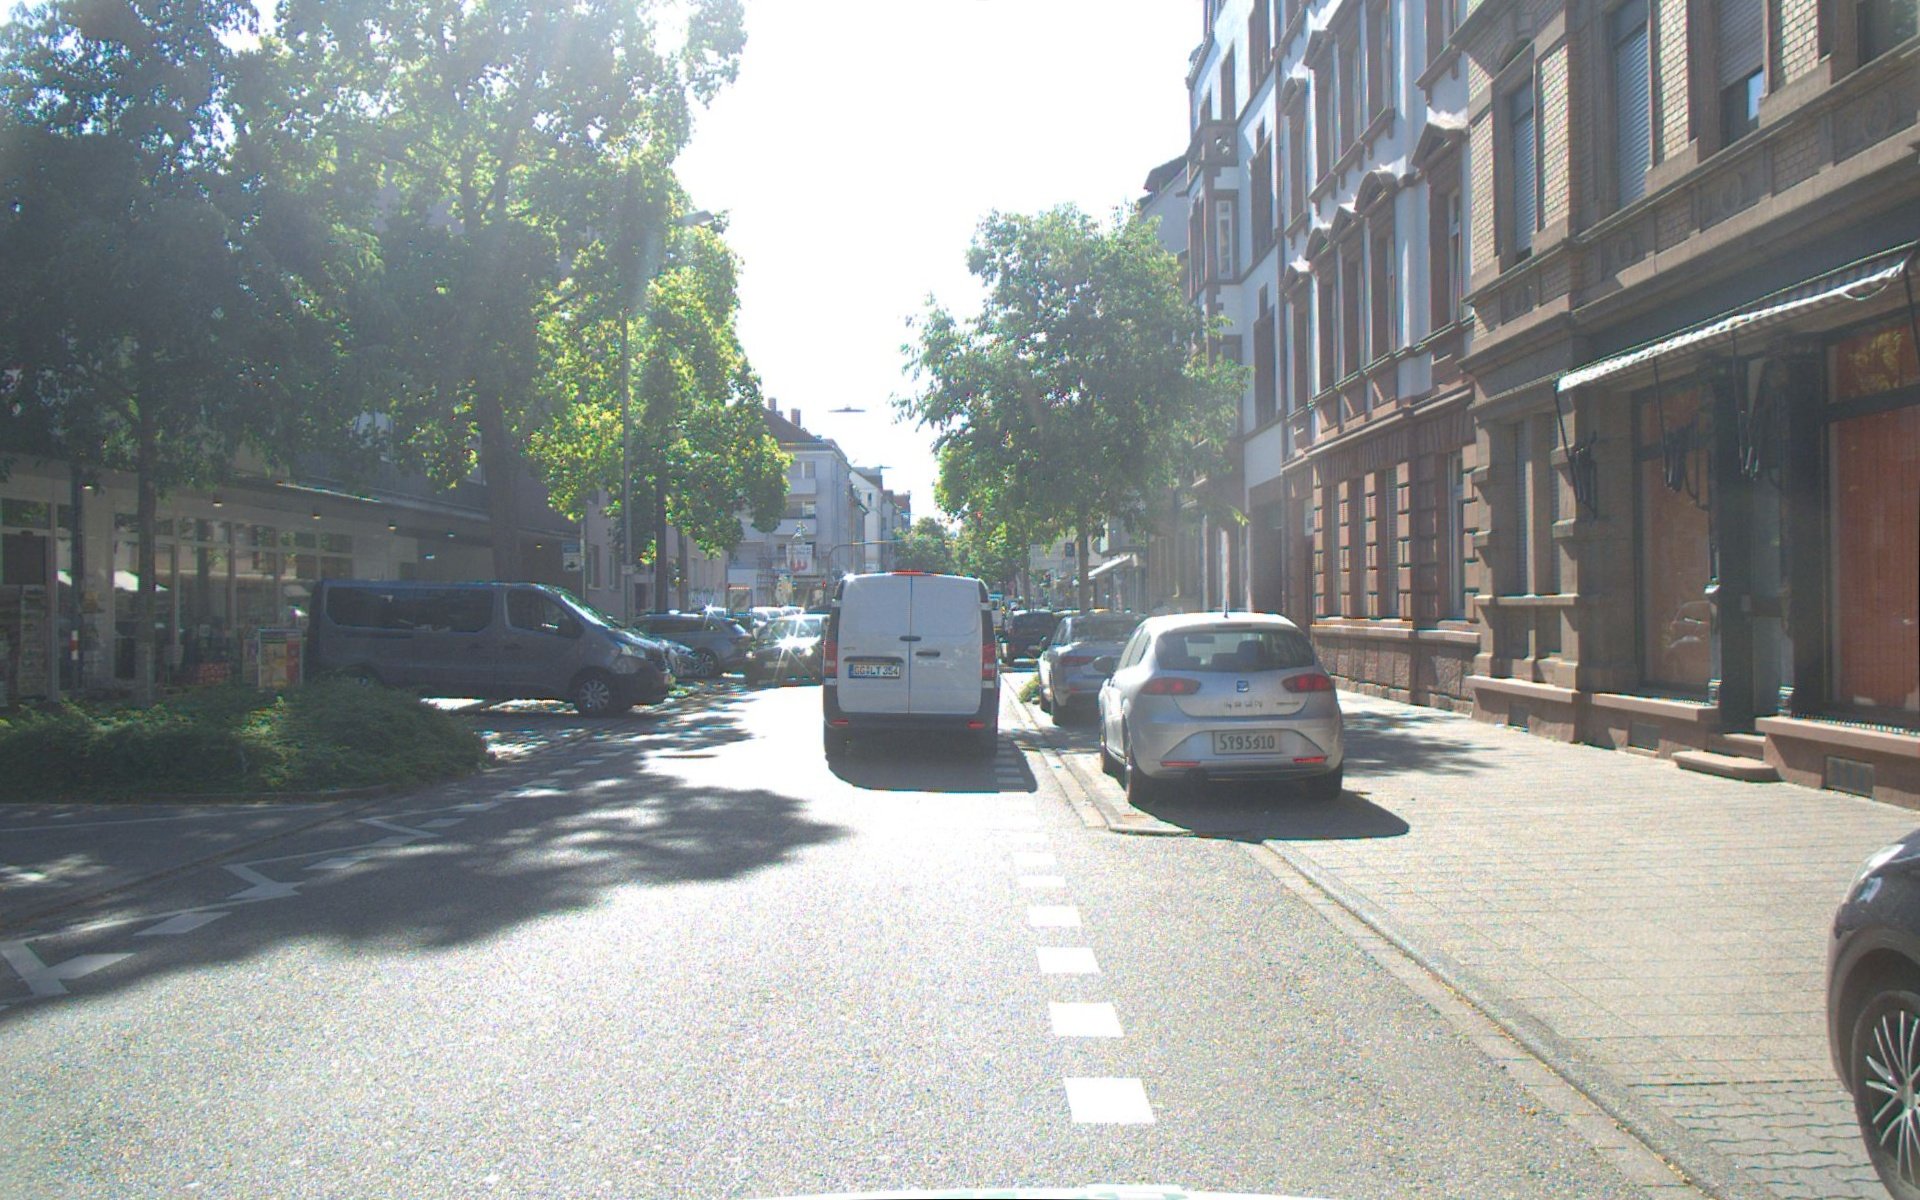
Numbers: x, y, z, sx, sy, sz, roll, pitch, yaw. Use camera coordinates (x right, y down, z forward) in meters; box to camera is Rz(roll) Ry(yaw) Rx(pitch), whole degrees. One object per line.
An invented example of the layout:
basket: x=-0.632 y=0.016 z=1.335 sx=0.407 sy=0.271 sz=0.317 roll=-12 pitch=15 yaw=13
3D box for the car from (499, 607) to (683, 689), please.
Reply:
car: x=-7.403 y=0.942 z=33.333 sx=3.535 sy=1.579 sz=1.679 roll=0 pitch=-1 yaw=-13

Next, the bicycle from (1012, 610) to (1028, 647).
bicycle: x=2.093 y=0.995 z=57.983 sx=0.465 sy=1.296 sz=1.218 roll=-1 pitch=0 yaw=-1

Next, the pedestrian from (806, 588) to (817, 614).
pedestrian: x=-9.950 y=0.059 z=110.484 sx=0.670 sy=1.693 sz=0.601 roll=-1 pitch=0 yaw=-2

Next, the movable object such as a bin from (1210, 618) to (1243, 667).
movable object such as a bin: x=6.004 y=0.953 z=37.320 sx=0.625 sy=1.087 sz=0.639 roll=-1 pitch=0 yaw=-1

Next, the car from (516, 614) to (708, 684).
car: x=-7.633 y=1.056 z=36.549 sx=3.908 sy=1.489 sz=1.811 roll=0 pitch=0 yaw=-3

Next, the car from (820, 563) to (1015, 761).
car: x=-0.621 y=0.612 z=18.821 sx=1.883 sy=1.947 sz=4.882 roll=0 pitch=0 yaw=-5

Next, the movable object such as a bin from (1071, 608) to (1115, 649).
movable object such as a bin: x=4.477 y=0.947 z=55.538 sx=1.021 sy=1.371 sz=1.103 roll=-1 pitch=0 yaw=38

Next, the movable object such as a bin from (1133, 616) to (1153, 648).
movable object such as a bin: x=6.010 y=1.047 z=54.368 sx=0.586 sy=1.060 sz=0.546 roll=-1 pitch=0 yaw=-1

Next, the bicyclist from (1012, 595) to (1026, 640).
bicyclist: x=2.067 y=0.613 z=58.169 sx=0.430 sy=1.535 sz=0.496 roll=-1 pitch=0 yaw=-1

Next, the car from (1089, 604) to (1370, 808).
car: x=2.160 y=0.793 z=14.297 sx=1.703 sy=1.477 sz=3.999 roll=-1 pitch=0 yaw=-1

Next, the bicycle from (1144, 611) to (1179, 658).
bicycle: x=5.255 y=0.894 z=43.250 sx=0.525 sy=1.168 sz=2.123 roll=-4 pitch=-1 yaw=-1

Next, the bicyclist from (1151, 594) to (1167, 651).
bicyclist: x=5.185 y=0.585 z=43.182 sx=0.353 sy=1.503 sz=0.530 roll=0 pitch=-1 yaw=0

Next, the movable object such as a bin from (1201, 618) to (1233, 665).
movable object such as a bin: x=5.983 y=0.959 z=38.475 sx=0.625 sy=1.087 sz=0.632 roll=-1 pitch=0 yaw=-1

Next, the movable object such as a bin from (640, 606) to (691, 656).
movable object such as a bin: x=-8.905 y=0.923 z=50.029 sx=1.204 sy=1.475 sz=1.077 roll=-1 pitch=0 yaw=9

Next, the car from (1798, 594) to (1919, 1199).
car: x=3.157 y=0.724 z=2.695 sx=1.674 sy=1.506 sz=3.710 roll=-1 pitch=0 yaw=0

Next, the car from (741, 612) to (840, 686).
car: x=-3.627 y=1.025 z=36.040 sx=1.727 sy=1.464 sz=3.960 roll=-2 pitch=0 yaw=0

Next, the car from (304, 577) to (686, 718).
car: x=-6.934 y=0.692 z=25.100 sx=5.184 sy=2.009 sz=2.015 roll=1 pitch=0 yaw=-1

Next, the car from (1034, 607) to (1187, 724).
car: x=2.040 y=0.853 z=23.556 sx=1.703 sy=1.477 sz=4.306 roll=-1 pitch=0 yaw=-1

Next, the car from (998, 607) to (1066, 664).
car: x=1.975 y=0.954 z=46.400 sx=1.602 sy=1.501 sz=3.579 roll=-1 pitch=0 yaw=-2

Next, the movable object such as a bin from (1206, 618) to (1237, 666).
movable object such as a bin: x=5.991 y=0.958 z=37.888 sx=0.625 sy=1.087 sz=0.521 roll=-1 pitch=0 yaw=-1

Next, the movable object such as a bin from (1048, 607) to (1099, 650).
movable object such as a bin: x=3.718 y=0.927 z=54.362 sx=1.261 sy=1.371 sz=1.091 roll=-1 pitch=0 yaw=-43

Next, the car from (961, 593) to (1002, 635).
car: x=1.033 y=0.653 z=80.373 sx=1.779 sy=1.955 sz=4.643 roll=-1 pitch=0 yaw=-1

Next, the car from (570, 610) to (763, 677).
car: x=-6.922 y=1.024 z=39.248 sx=4.215 sy=1.486 sz=1.763 roll=1 pitch=0 yaw=2

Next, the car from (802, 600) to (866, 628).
car: x=-7.787 y=0.868 z=102.529 sx=3.908 sy=1.668 sz=1.998 roll=0 pitch=0 yaw=-4
